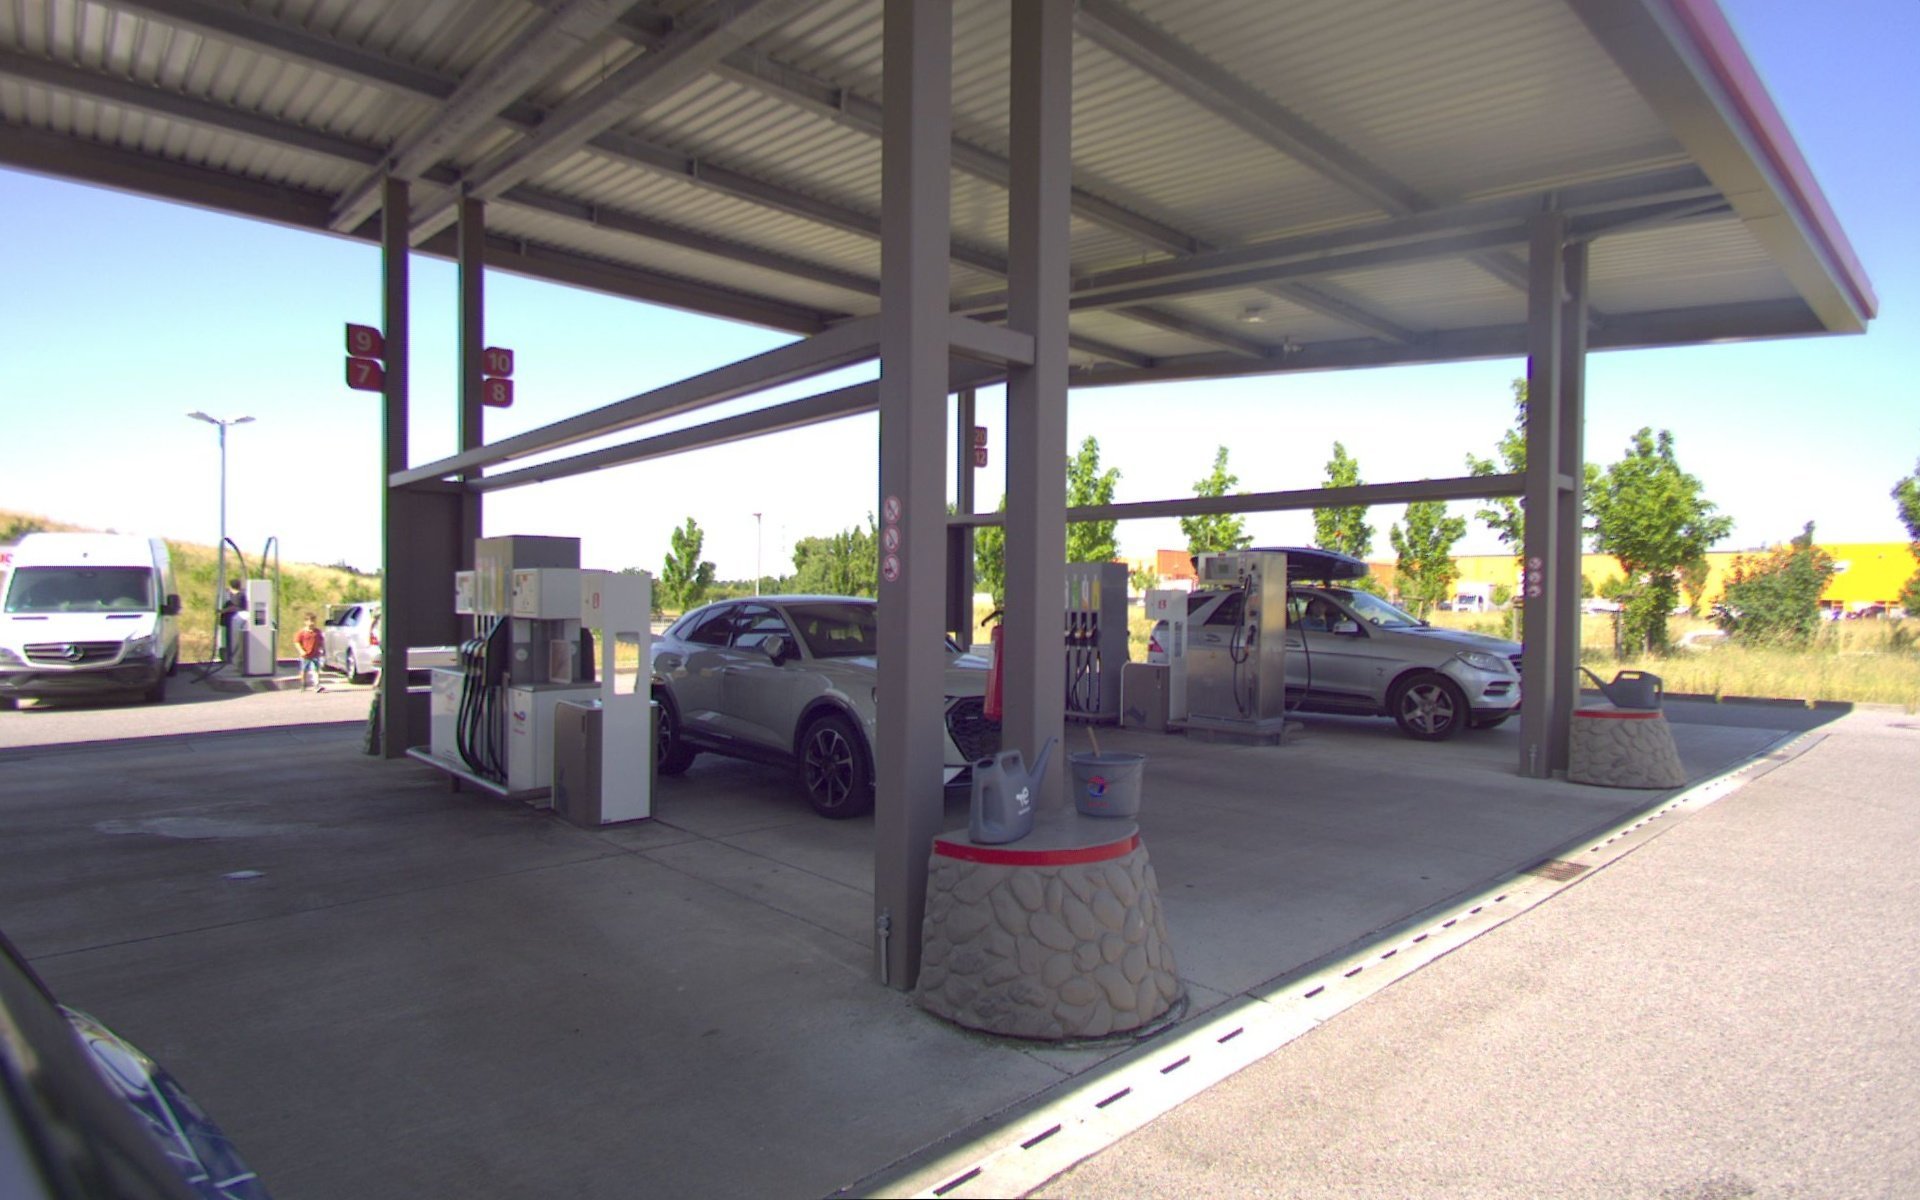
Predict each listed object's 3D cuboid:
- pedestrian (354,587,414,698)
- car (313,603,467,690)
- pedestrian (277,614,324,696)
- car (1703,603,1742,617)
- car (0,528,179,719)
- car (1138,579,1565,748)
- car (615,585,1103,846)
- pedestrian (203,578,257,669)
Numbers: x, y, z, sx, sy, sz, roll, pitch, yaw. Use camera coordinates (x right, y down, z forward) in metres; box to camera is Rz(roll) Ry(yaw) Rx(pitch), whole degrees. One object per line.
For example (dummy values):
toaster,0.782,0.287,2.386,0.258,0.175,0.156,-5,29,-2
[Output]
pedestrian,-9.456,0.675,16.608,0.698,1.762,0.846,1,-1,-40
car,-11.149,0.806,19.642,1.765,1.439,4.328,1,0,-41
pedestrian,-10.862,0.890,16.668,0.569,1.316,0.670,1,-1,-40
car,77.384,1.020,102.735,1.463,1.309,2.950,1,-1,-40
car,-14.478,0.226,16.923,1.967,2.590,7.049,1,1,-36
car,4.612,0.664,12.422,4.537,1.700,1.839,-1,-1,44
car,-1.069,0.703,8.228,1.758,1.553,4.331,0,-1,-42
pedestrian,-14.630,0.469,20.286,0.831,1.783,0.711,1,-1,-38
